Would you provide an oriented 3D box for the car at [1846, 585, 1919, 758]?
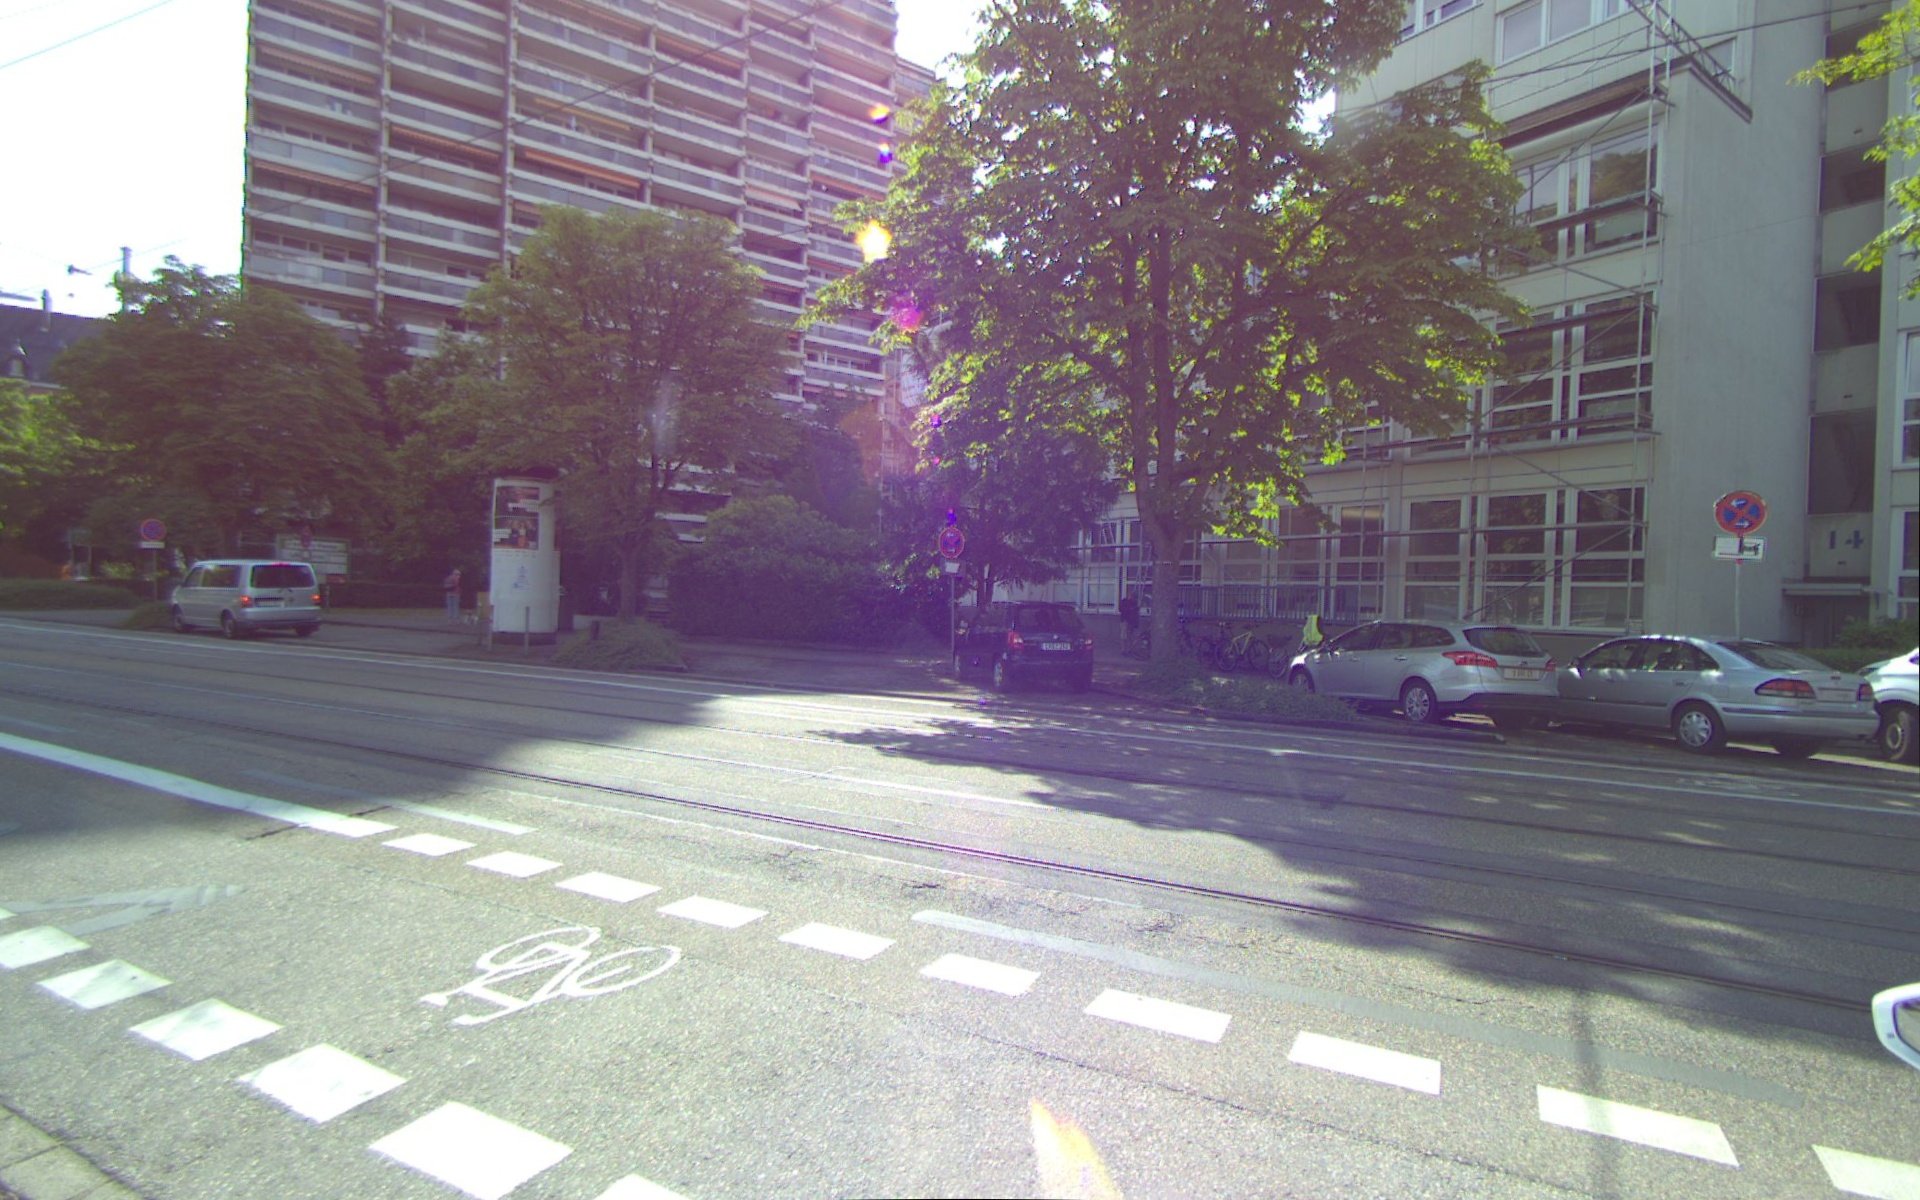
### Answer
[{"bbox_3d":[12.469,0.854,10.421,1.935,2.024,4.675,2,-1,-12],"label":"car"}]

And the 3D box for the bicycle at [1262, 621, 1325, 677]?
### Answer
[{"bbox_3d":[7.341,1.076,22.057,1.566,1.177,0.536,2,-3,-38],"label":"bicycle"}]

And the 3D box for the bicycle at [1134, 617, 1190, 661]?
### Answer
[{"bbox_3d":[5.232,1.016,26.007,1.566,1.095,0.536,2,-3,-38],"label":"bicycle"}]

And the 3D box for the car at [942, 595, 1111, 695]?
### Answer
[{"bbox_3d":[1.042,0.720,17.750,1.714,1.543,3.871,2,0,-17],"label":"car"}]

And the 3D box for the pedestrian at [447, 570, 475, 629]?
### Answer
[{"bbox_3d":[-15.559,-0.028,31.327,0.625,1.778,0.522,5,3,38],"label":"pedestrian"}]

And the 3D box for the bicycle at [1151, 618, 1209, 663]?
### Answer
[{"bbox_3d":[5.512,1.015,25.133,1.566,1.107,0.536,2,-3,-38],"label":"bicycle"}]

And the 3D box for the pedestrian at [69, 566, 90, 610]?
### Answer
[{"bbox_3d":[-36.494,-0.499,41.614,0.523,1.778,0.462,4,3,23],"label":"pedestrian"}]

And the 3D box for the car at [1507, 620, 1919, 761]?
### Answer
[{"bbox_3d":[9.485,1.053,13.105,1.791,1.469,4.160,2,-1,-13],"label":"car"}]

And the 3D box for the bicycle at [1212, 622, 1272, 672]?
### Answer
[{"bbox_3d":[6.555,1.097,23.329,1.566,1.136,0.536,2,-3,-38],"label":"bicycle"}]

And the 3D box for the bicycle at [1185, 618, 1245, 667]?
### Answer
[{"bbox_3d":[6.084,1.015,23.949,1.566,1.128,0.536,2,-3,-38],"label":"bicycle"}]

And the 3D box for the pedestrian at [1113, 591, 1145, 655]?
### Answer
[{"bbox_3d":[4.463,0.592,26.471,0.649,1.646,0.642,3,1,21],"label":"pedestrian"}]

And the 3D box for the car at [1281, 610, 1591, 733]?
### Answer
[{"bbox_3d":[6.766,0.942,14.835,1.793,1.520,4.178,2,-1,-17],"label":"car"}]

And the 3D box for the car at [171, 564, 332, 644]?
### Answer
[{"bbox_3d":[-18.449,0.037,26.135,4.161,1.876,1.889,2,3,31],"label":"car"}]
